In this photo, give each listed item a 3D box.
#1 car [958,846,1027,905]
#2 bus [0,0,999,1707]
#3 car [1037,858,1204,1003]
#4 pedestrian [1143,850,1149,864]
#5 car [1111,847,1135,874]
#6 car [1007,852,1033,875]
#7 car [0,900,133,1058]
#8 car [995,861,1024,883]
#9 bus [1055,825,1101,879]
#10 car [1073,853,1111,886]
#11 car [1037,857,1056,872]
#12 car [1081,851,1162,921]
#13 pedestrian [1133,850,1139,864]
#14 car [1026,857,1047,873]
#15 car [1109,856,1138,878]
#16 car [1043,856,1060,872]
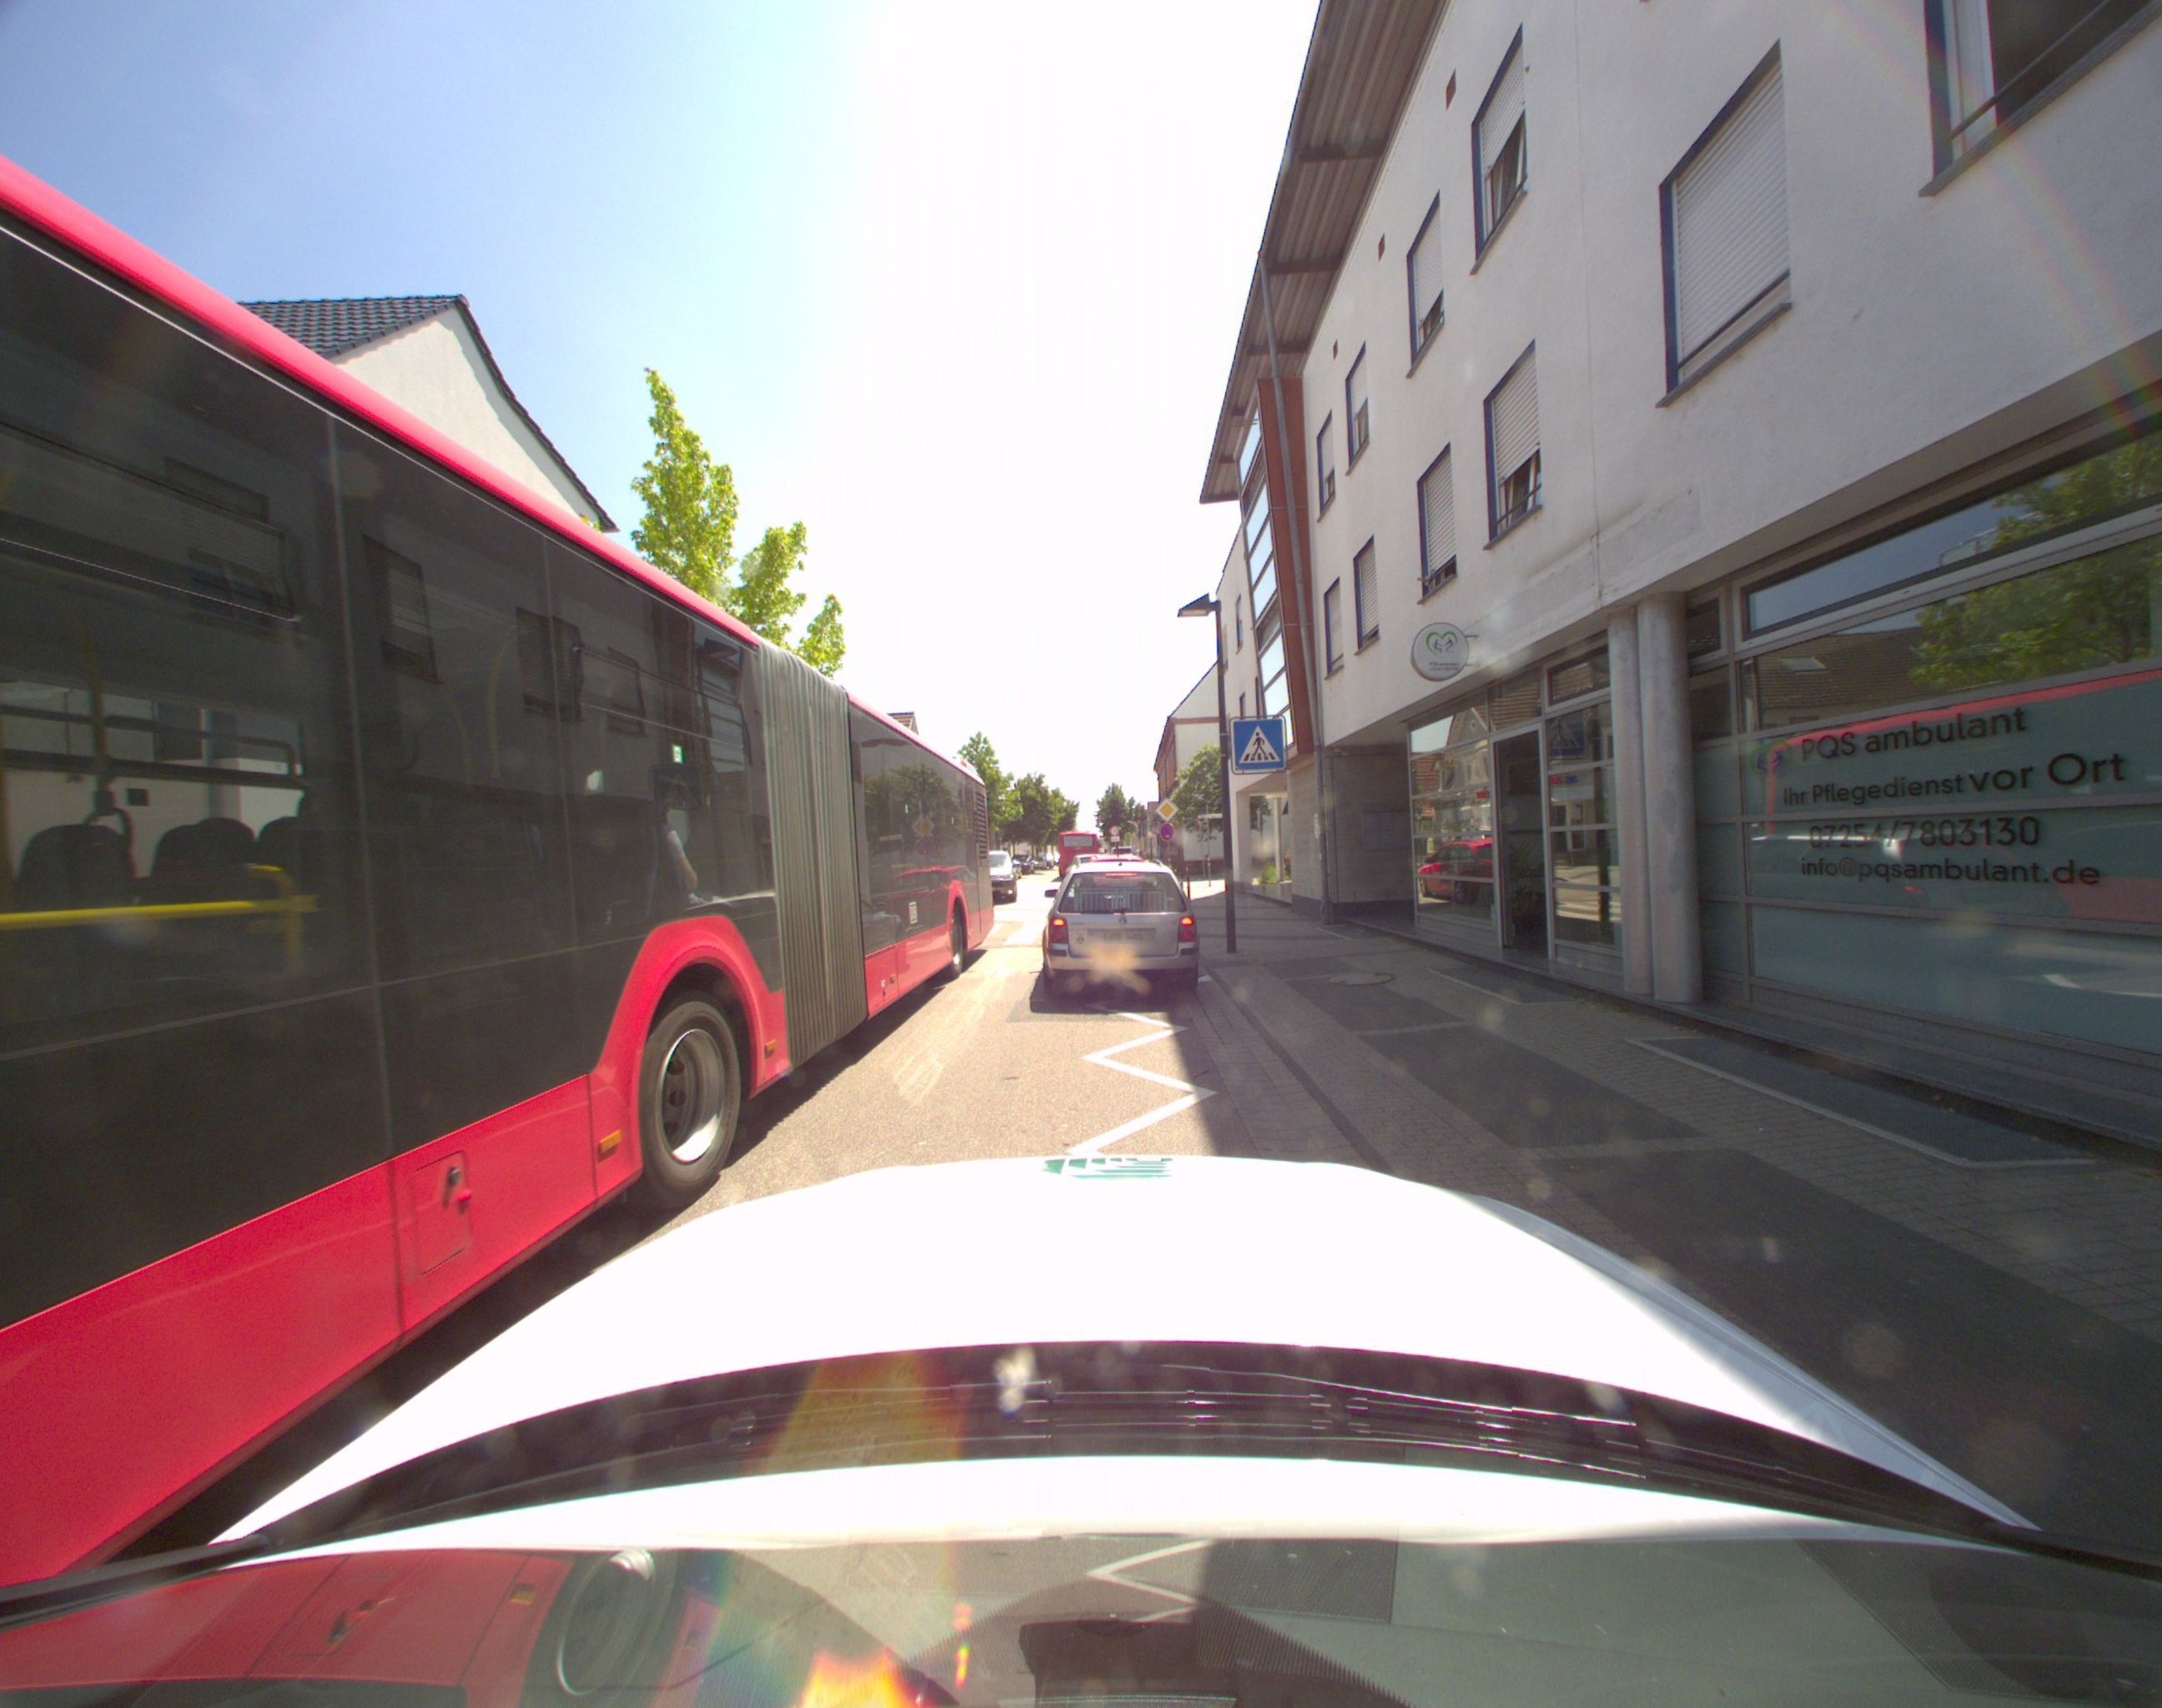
[{"bbox_3d":[-2.842,0.666,26.869,1.669,1.716,4.232,-3,0,1],"label":"car"},{"bbox_3d":[-3.052,0.040,5.226,2.659,3.123,17.811,-3,0,1],"label":"bus"},{"bbox_3d":[0.450,0.781,10.011,1.670,1.430,3.681,0,0,2],"label":"car"},{"bbox_3d":[7.965,0.396,99.831,0.604,1.667,0.789,-3,0,0],"label":"pedestrian"},{"bbox_3d":[3.497,0.537,68.565,1.781,2.082,3.627,-3,0,1],"label":"car"},{"bbox_3d":[-5.168,0.788,69.780,1.758,1.838,3.790,-3,0,1],"label":"car"},{"bbox_3d":[-11.878,1.297,7.980,3.108,1.443,1.585,-3,0,-4],"label":"car"},{"bbox_3d":[-5.085,1.242,58.464,1.599,1.438,4.066,-3,0,1],"label":"car"},{"bbox_3d":[-0.217,-0.087,56.736,2.732,3.298,12.700,-2,0,-1],"label":"bus"},{"bbox_3d":[0.571,0.690,37.495,1.587,1.430,3.682,-1,0,3],"label":"car"},{"bbox_3d":[-3.817,1.119,91.216,1.805,1.559,4.001,-3,0,1],"label":"car"},{"bbox_3d":[0.934,0.693,19.439,1.670,1.430,3.681,-3,0,2],"label":"car"},{"bbox_3d":[6.793,0.411,99.879,0.604,1.667,0.789,-3,0,0],"label":"pedestrian"},{"bbox_3d":[-4.600,1.089,84.637,1.805,1.559,4.001,-3,0,1],"label":"car"},{"bbox_3d":[2.736,0.836,53.073,1.713,1.309,3.627,-3,0,1],"label":"car"},{"bbox_3d":[-3.776,1.241,103.610,1.805,1.995,4.001,-3,0,1],"label":"car"}]
